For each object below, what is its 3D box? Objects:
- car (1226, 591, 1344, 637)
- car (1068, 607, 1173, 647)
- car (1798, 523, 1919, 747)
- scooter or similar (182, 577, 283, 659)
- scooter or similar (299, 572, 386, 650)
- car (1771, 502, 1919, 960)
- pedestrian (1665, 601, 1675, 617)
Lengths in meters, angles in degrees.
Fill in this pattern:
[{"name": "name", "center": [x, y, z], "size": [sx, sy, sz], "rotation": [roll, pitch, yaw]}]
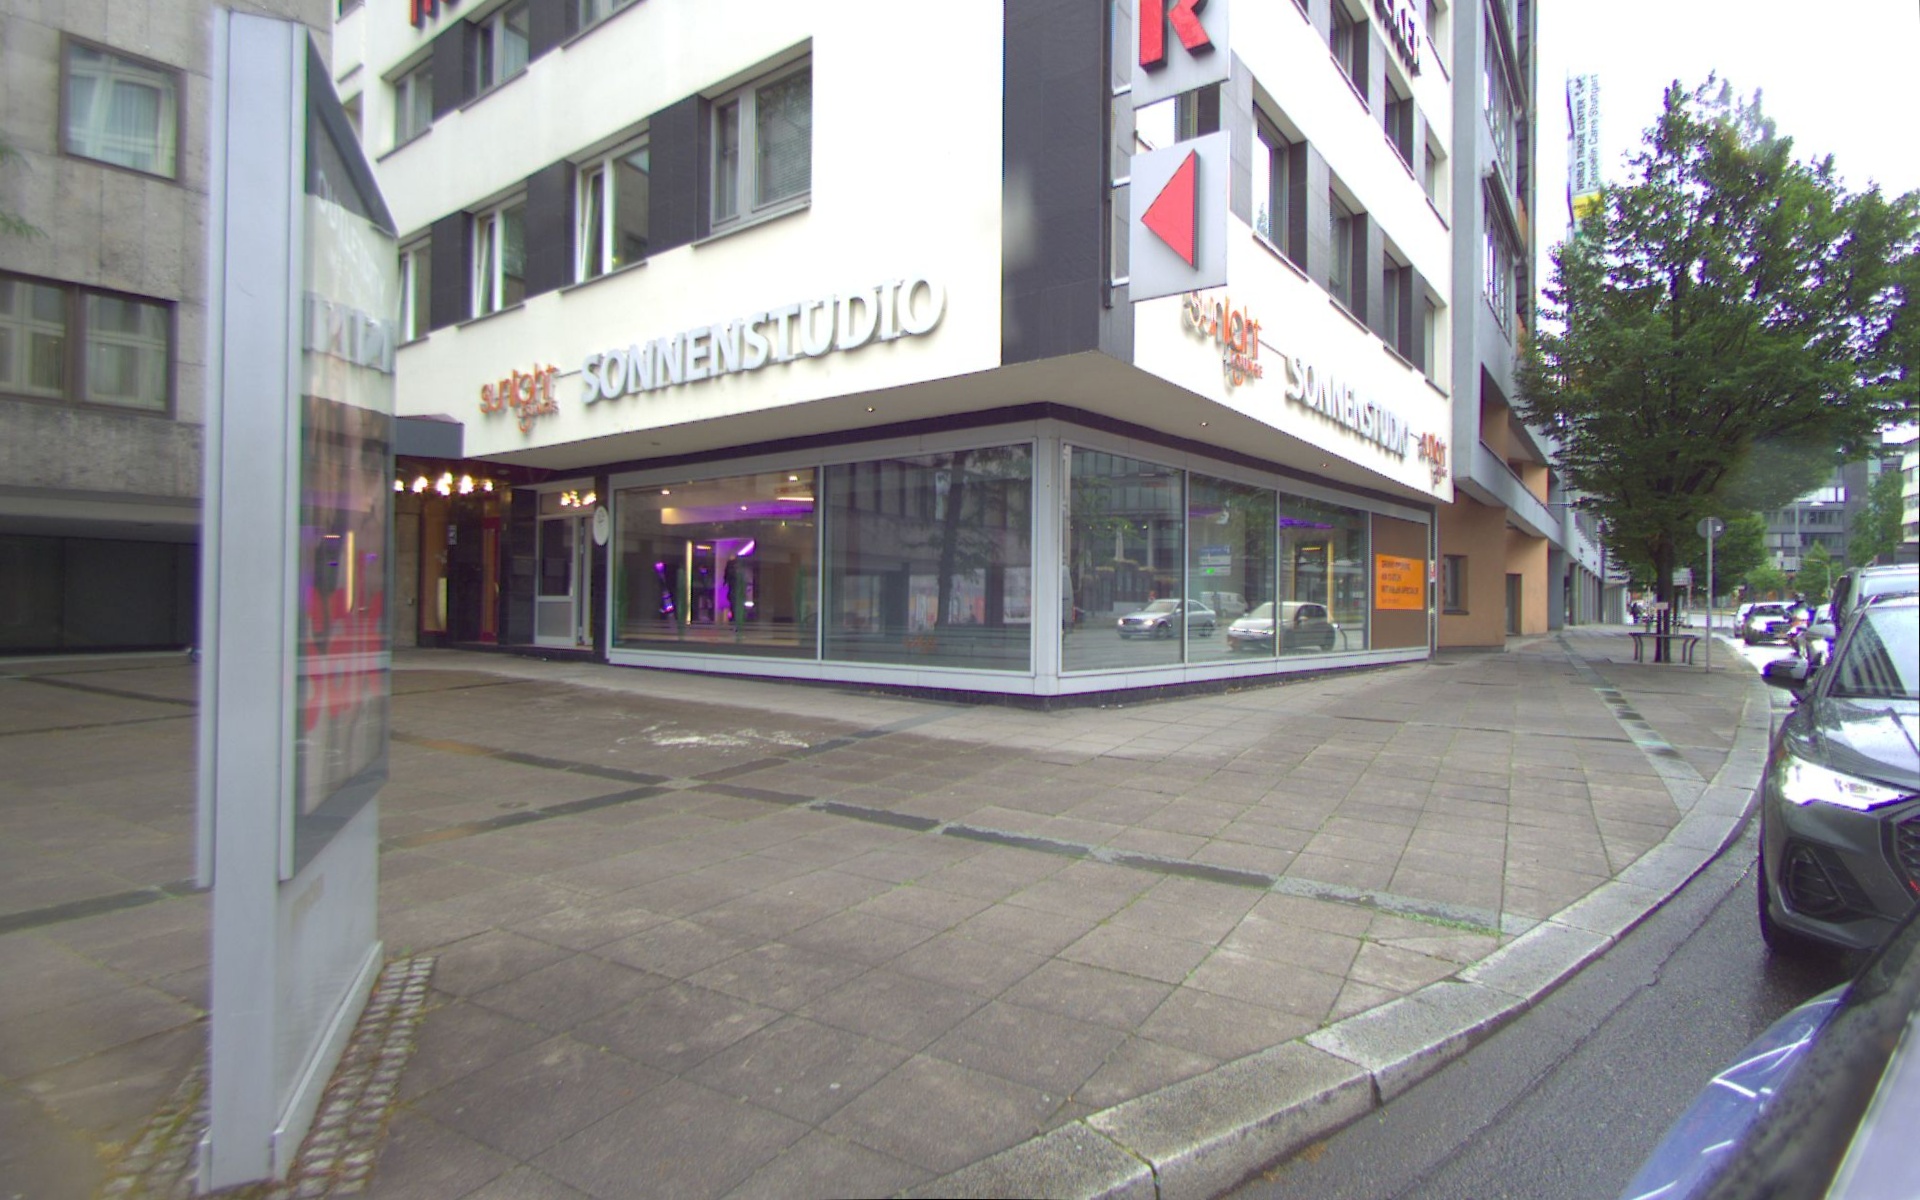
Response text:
[{"name": "car", "center": [9.622, 0.386, 29.818], "size": [1.716, 1.209, 3.937], "rotation": [-2, 0, 44]}, {"name": "car", "center": [5.708, 0.950, 36.119], "size": [3.365, 1.347, 1.548], "rotation": [-2, 0, 34]}, {"name": "car", "center": [10.110, 0.254, 10.210], "size": [4.967, 1.916, 2.055], "rotation": [-1, 0, -45]}, {"name": "scooter or similar", "center": [-11.689, 0.268, 16.289], "size": [0.562, 1.269, 1.215], "rotation": [1, 1, 37]}, {"name": "scooter or similar", "center": [-11.066, 0.181, 18.166], "size": [0.516, 1.354, 1.215], "rotation": [-2, -1, 37]}, {"name": "car", "center": [5.165, 0.406, 4.657], "size": [1.797, 1.572, 4.318], "rotation": [-2, 0, 44]}, {"name": "pedestrian", "center": [72.751, 0.937, 103.686], "size": [0.648, 1.618, 1.047], "rotation": [-2, -1, 30]}]
